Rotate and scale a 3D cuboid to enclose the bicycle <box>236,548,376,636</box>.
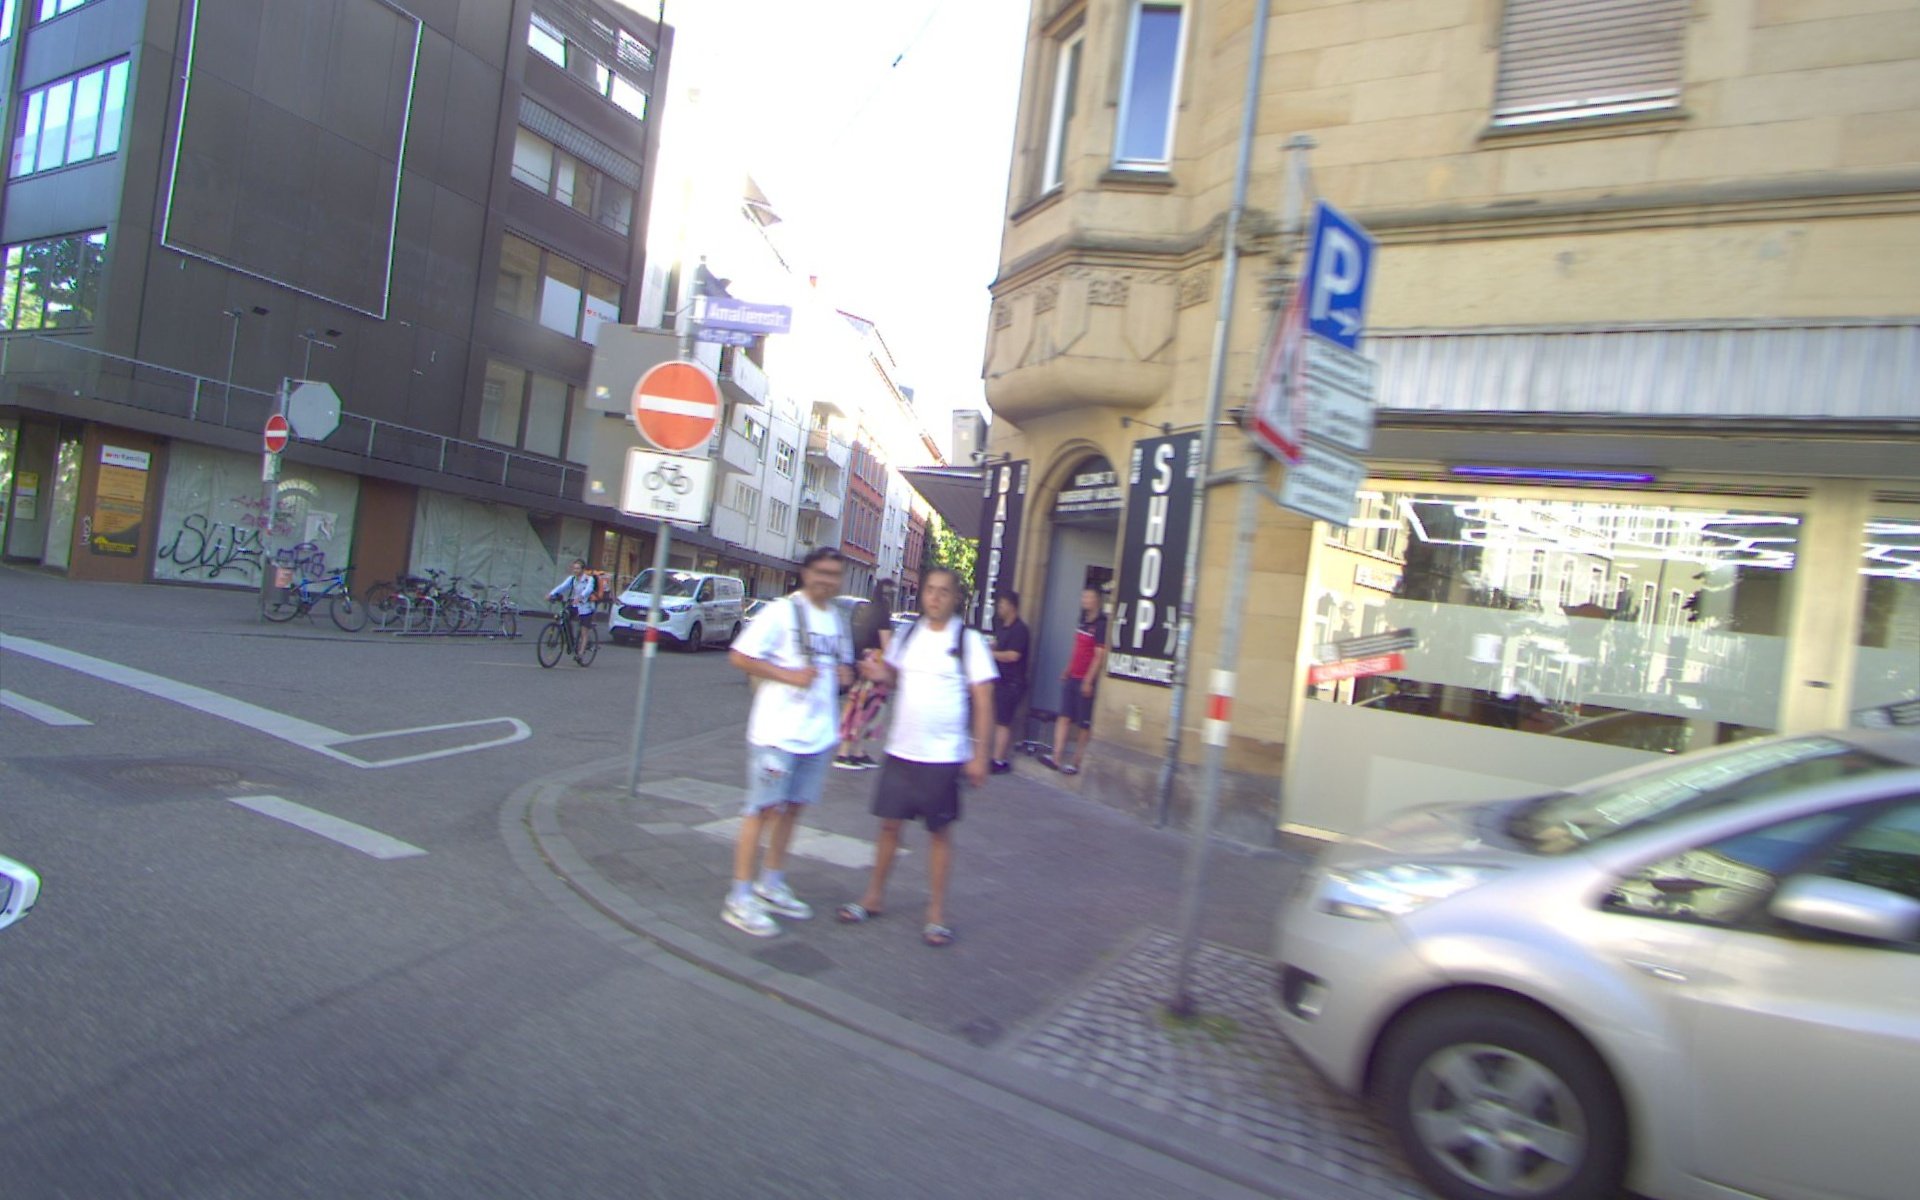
[{"bbox_3d":[-10.651,-0.126,16.423,1.716,1.175,0.572,8,0,-10],"label":"bicycle"}]

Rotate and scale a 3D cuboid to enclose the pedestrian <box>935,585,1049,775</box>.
[{"bbox_3d":[0.299,0.757,9.702,0.613,1.712,0.710,7,-1,-33],"label":"pedestrian"}]

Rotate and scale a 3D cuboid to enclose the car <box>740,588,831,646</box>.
[{"bbox_3d":[-6.137,0.674,35.976,1.962,1.697,4.322,7,-2,5],"label":"car"}]

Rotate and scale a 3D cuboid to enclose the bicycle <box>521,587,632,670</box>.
[{"bbox_3d":[-6.073,0.476,16.055,0.656,1.171,1.946,7,-2,8],"label":"bicycle"}]

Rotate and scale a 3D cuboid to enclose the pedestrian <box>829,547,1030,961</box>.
[{"bbox_3d":[-0.114,0.675,4.751,0.681,1.742,0.698,6,2,6],"label":"pedestrian"}]

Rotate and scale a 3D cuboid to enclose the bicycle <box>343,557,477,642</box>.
[{"bbox_3d":[-10.082,-0.001,18.469,1.982,1.175,0.573,11,0,1],"label":"bicycle"}]

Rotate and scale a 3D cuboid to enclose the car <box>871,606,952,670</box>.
[{"bbox_3d":[-1.557,1.302,34.299,1.962,1.792,4.458,7,-2,5],"label":"car"}]

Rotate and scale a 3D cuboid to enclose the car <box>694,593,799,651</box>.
[{"bbox_3d":[-6.410,0.711,30.572,1.942,1.428,3.673,6,-2,6],"label":"car"}]

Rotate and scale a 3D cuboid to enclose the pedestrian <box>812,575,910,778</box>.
[{"bbox_3d":[-0.900,0.671,9.022,0.609,1.712,0.673,5,0,-17],"label":"pedestrian"}]

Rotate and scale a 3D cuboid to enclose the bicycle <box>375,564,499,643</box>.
[{"bbox_3d":[-9.934,0.069,19.150,1.892,1.145,0.573,11,0,1],"label":"bicycle"}]

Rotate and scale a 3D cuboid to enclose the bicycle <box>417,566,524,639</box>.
[{"bbox_3d":[-9.756,0.057,20.069,1.714,1.145,0.573,11,0,4],"label":"bicycle"}]

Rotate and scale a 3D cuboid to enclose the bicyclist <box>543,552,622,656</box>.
[{"bbox_3d":[-6.021,0.080,16.092,0.656,1.543,0.891,7,-1,8],"label":"bicyclist"}]

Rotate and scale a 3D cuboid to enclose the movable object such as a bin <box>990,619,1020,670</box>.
[{"bbox_3d":[1.363,1.338,30.214,0.671,1.434,0.761,7,0,7],"label":"movable object such as a bin"}]

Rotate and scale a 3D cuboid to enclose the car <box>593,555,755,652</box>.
[{"bbox_3d":[-7.045,0.183,25.447,2.078,1.951,4.957,7,-2,5],"label":"car"}]

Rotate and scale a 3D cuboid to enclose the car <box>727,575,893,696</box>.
[{"bbox_3d":[-2.674,0.691,19.120,1.962,1.792,4.322,7,-2,5],"label":"car"}]

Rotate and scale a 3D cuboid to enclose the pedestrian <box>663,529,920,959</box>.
[{"bbox_3d":[-0.797,0.590,4.627,0.688,1.742,0.886,5,2,-36],"label":"pedestrian"}]

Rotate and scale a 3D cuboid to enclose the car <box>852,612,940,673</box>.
[{"bbox_3d":[-1.739,1.225,28.441,1.742,1.428,3.673,6,-2,6],"label":"car"}]

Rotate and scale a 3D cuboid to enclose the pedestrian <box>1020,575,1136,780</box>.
[{"bbox_3d":[1.040,0.672,8.910,0.494,1.712,0.710,7,-1,-33],"label":"pedestrian"}]

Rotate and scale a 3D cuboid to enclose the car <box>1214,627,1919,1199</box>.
[{"bbox_3d":[3.147,1.133,3.147,4.056,1.594,1.975,7,1,30],"label":"car"}]
